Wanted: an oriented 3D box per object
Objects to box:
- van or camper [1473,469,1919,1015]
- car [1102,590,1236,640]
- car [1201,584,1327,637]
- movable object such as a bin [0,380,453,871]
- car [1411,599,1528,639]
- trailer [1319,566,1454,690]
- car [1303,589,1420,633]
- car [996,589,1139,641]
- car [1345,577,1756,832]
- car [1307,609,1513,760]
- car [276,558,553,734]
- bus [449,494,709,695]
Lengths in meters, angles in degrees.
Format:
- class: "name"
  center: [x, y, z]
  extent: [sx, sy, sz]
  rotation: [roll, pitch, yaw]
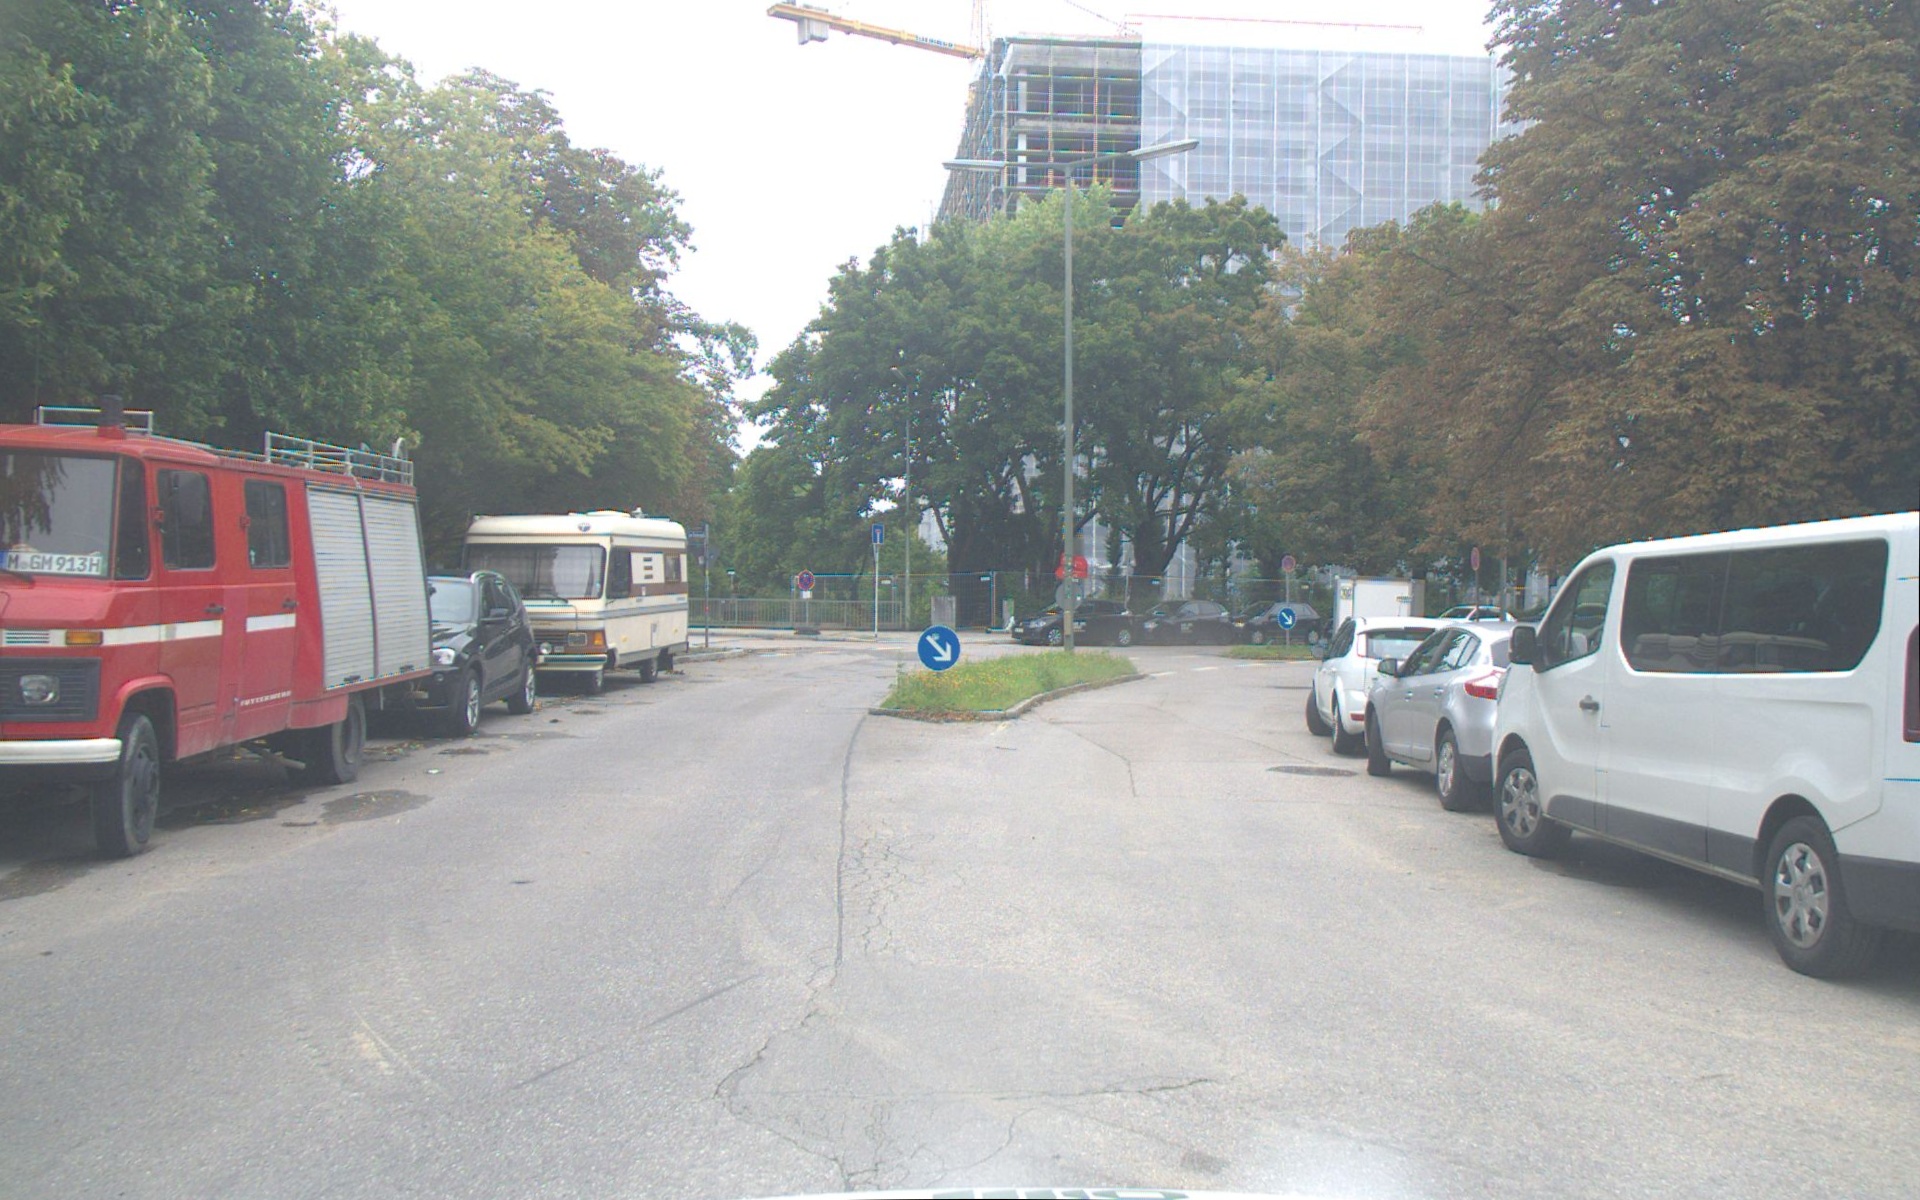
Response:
- class: "van or camper"
  center: [4.579, 0.551, 8.907]
  extent: [1.953, 2.049, 5.376]
  rotation: [1, 0, 0]
- class: "car"
  center: [6.725, 0.473, 53.188]
  extent: [3.948, 1.568, 1.978]
  rotation: [1, 0, -32]
- class: "car"
  center: [10.314, 0.367, 56.045]
  extent: [3.948, 1.736, 1.978]
  rotation: [1, 0, -32]
- class: "movable object such as a bin"
  center: [-5.470, 0.108, 11.504]
  extent: [2.061, 2.501, 6.185]
  rotation: [1, 0, -1]
- class: "car"
  center: [18.820, 0.711, 61.050]
  extent: [4.159, 1.408, 1.784]
  rotation: [1, 0, -30]
- class: "trailer"
  center: [7.762, 0.474, 29.792]
  extent: [1.772, 2.049, 4.833]
  rotation: [0, 0, 22]
- class: "car"
  center: [14.241, 0.373, 58.597]
  extent: [3.954, 1.486, 1.820]
  rotation: [-1, 0, -32]
- class: "car"
  center: [3.328, 0.447, 50.895]
  extent: [3.989, 1.457, 1.979]
  rotation: [1, 2, -32]
- class: "car"
  center: [4.745, 0.755, 14.066]
  extent: [1.952, 1.758, 4.450]
  rotation: [2, 0, 1]
- class: "car"
  center: [5.131, 0.888, 19.361]
  extent: [1.729, 1.512, 4.224]
  rotation: [1, 0, 7]
- class: "car"
  center: [-5.777, 0.434, 18.098]
  extent: [1.741, 1.678, 4.457]
  rotation: [1, 0, -3]
- class: "bus"
  center: [-5.669, -0.092, 25.561]
  extent: [2.266, 2.746, 5.737]
  rotation: [1, 0, 4]
